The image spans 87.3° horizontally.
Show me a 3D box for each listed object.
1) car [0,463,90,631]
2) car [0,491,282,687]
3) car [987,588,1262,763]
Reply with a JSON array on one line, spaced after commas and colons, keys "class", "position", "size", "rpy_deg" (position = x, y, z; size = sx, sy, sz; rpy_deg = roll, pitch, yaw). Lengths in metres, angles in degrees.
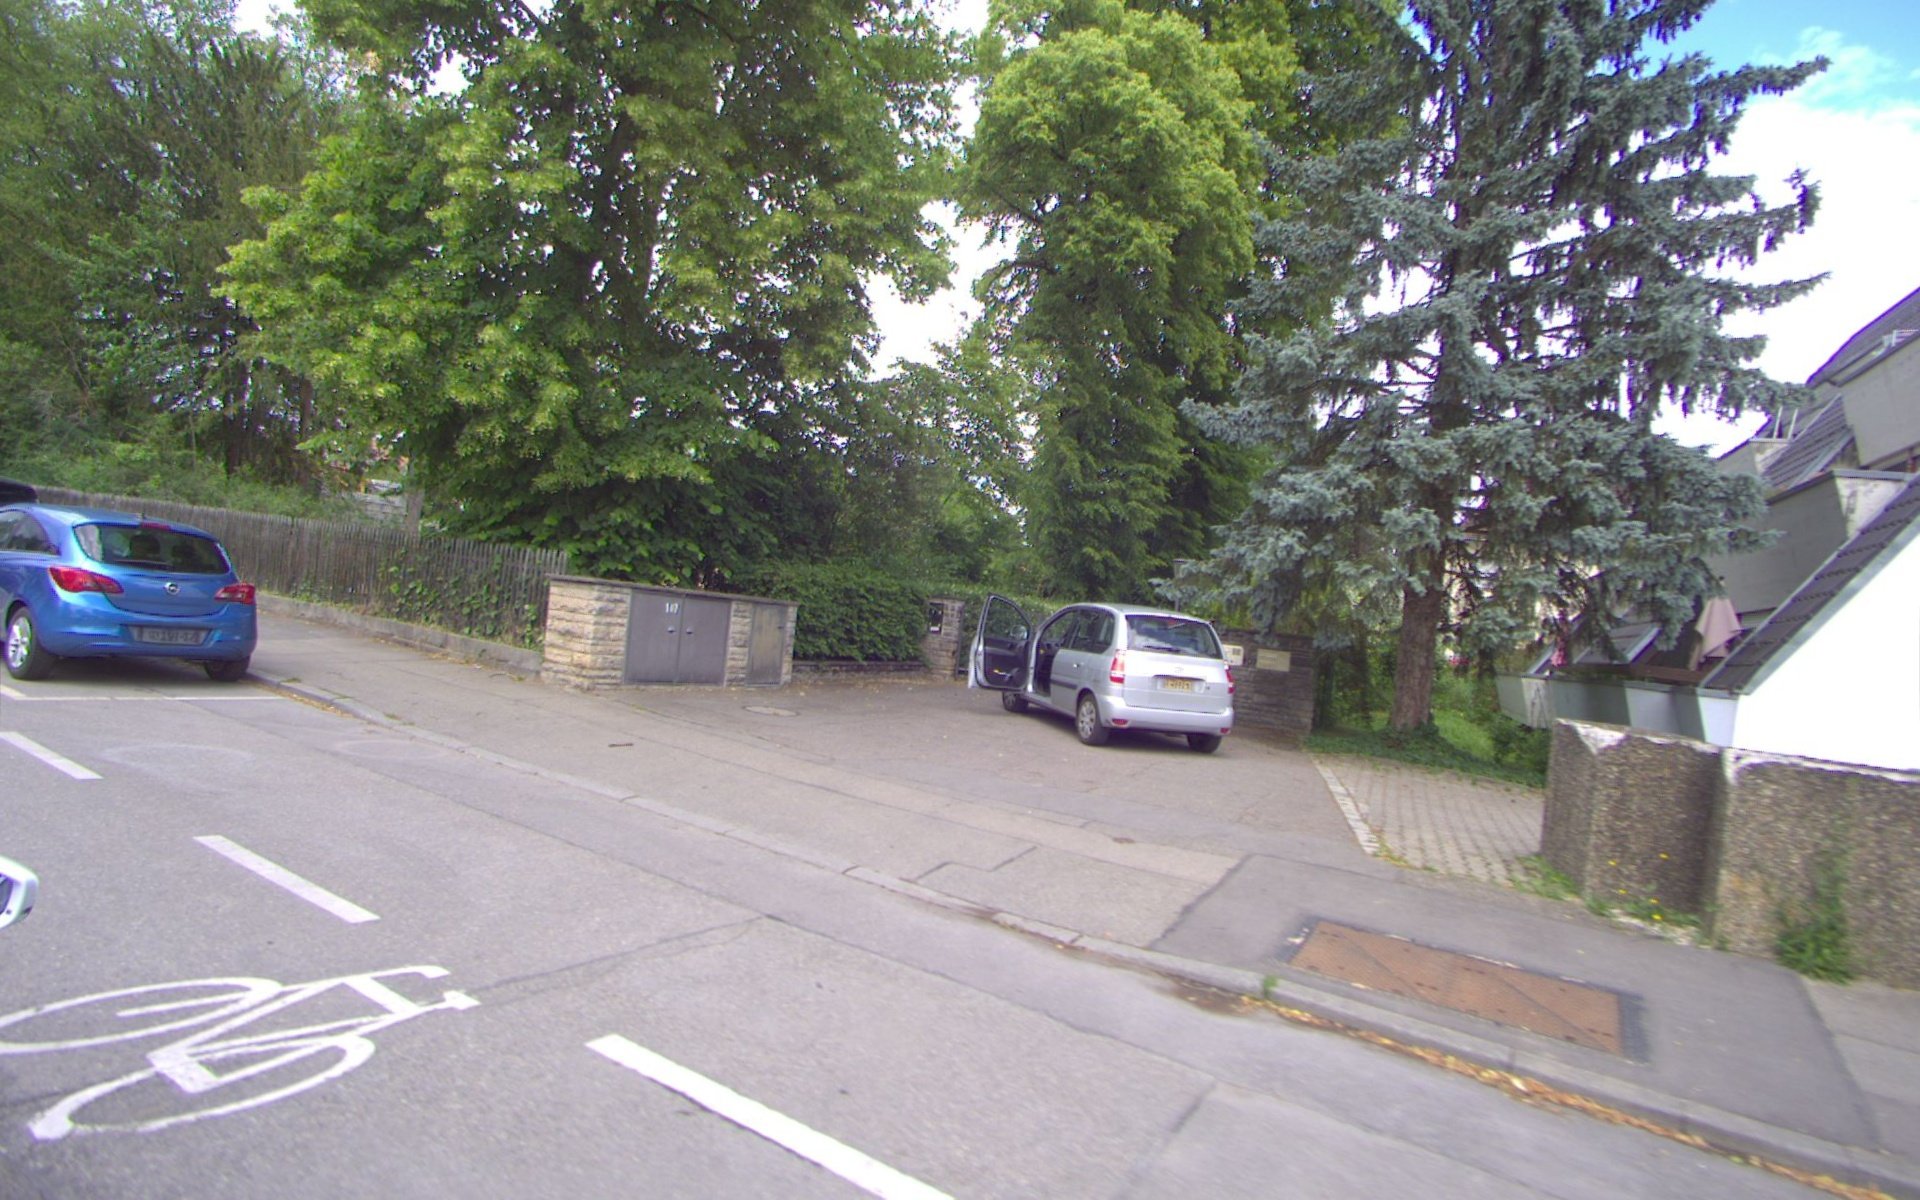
[{"class": "car", "position": [-12.939, -0.858, 12.341], "size": [4.747, 1.837, 1.997], "rpy_deg": [6, -1, 32]}, {"class": "car", "position": [-8.561, -0.183, 9.736], "size": [3.855, 1.519, 1.688], "rpy_deg": [6, -1, 30]}, {"class": "car", "position": [1.897, 0.834, 12.984], "size": [1.789, 1.681, 3.985], "rpy_deg": [7, 0, -17]}]
